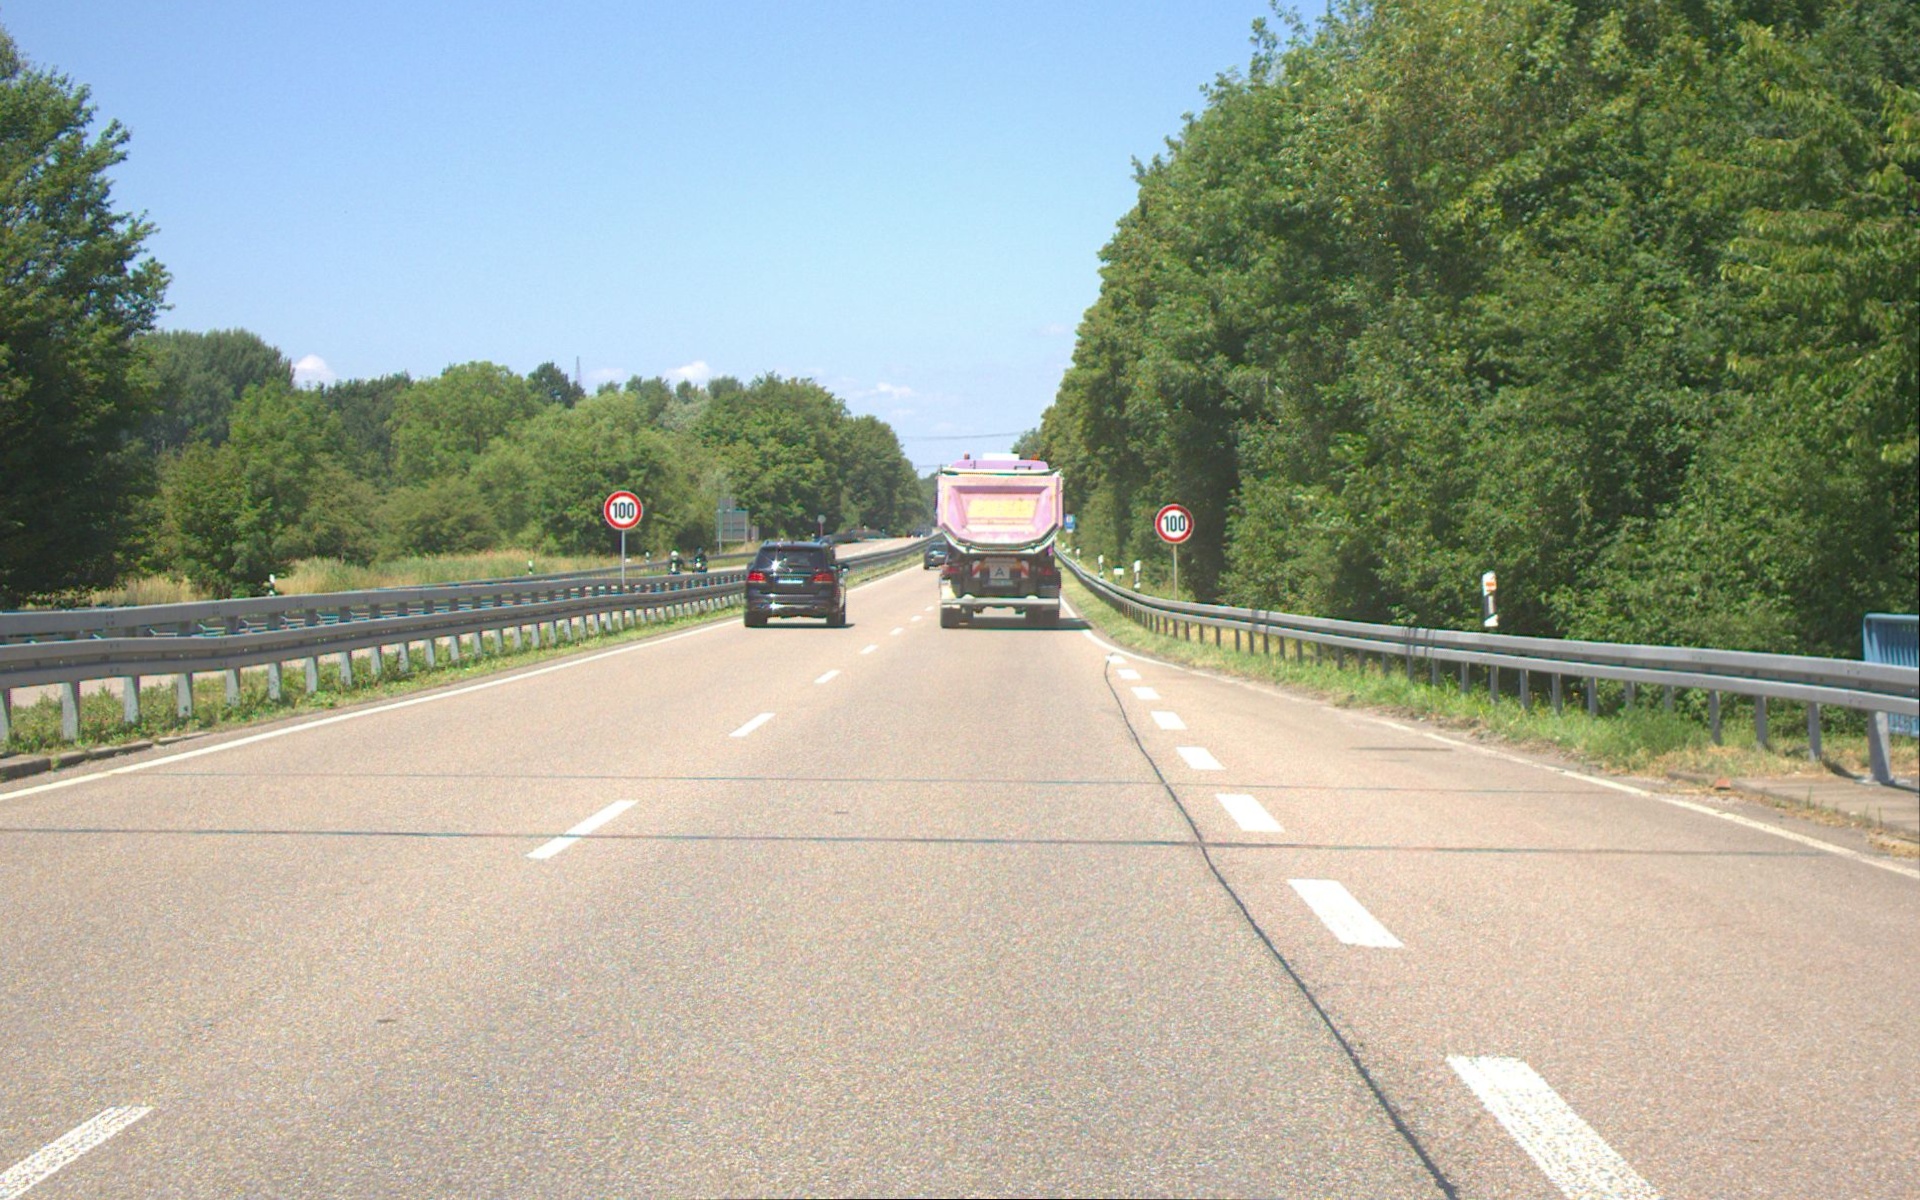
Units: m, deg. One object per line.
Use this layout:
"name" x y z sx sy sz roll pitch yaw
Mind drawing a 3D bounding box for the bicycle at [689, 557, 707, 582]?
"bicycle" -12.249 -1.432 160.595 0.613 1.153 2.280 0 1 1

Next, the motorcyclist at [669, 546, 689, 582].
"motorcyclist" -11.381 -1.462 139.291 0.718 1.477 0.809 0 0 2

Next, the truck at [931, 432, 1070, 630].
"truck" 0.838 -1.508 74.731 2.720 3.916 12.370 1 1 0

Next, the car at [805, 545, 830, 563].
"car" -10.485 -3.367 253.245 1.628 1.327 3.535 0 1 1

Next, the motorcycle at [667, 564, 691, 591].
"motorcycle" -11.381 -0.926 139.234 0.726 1.061 2.667 0 1 1

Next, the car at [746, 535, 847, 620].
"car" -3.318 -0.445 70.533 1.857 1.665 4.000 1 0 0

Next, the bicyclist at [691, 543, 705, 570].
"bicyclist" -12.239 -2.031 160.745 0.613 1.273 0.608 0 0 1

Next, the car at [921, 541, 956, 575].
"car" -1.151 -2.276 186.078 1.857 1.712 4.000 1 0 0
